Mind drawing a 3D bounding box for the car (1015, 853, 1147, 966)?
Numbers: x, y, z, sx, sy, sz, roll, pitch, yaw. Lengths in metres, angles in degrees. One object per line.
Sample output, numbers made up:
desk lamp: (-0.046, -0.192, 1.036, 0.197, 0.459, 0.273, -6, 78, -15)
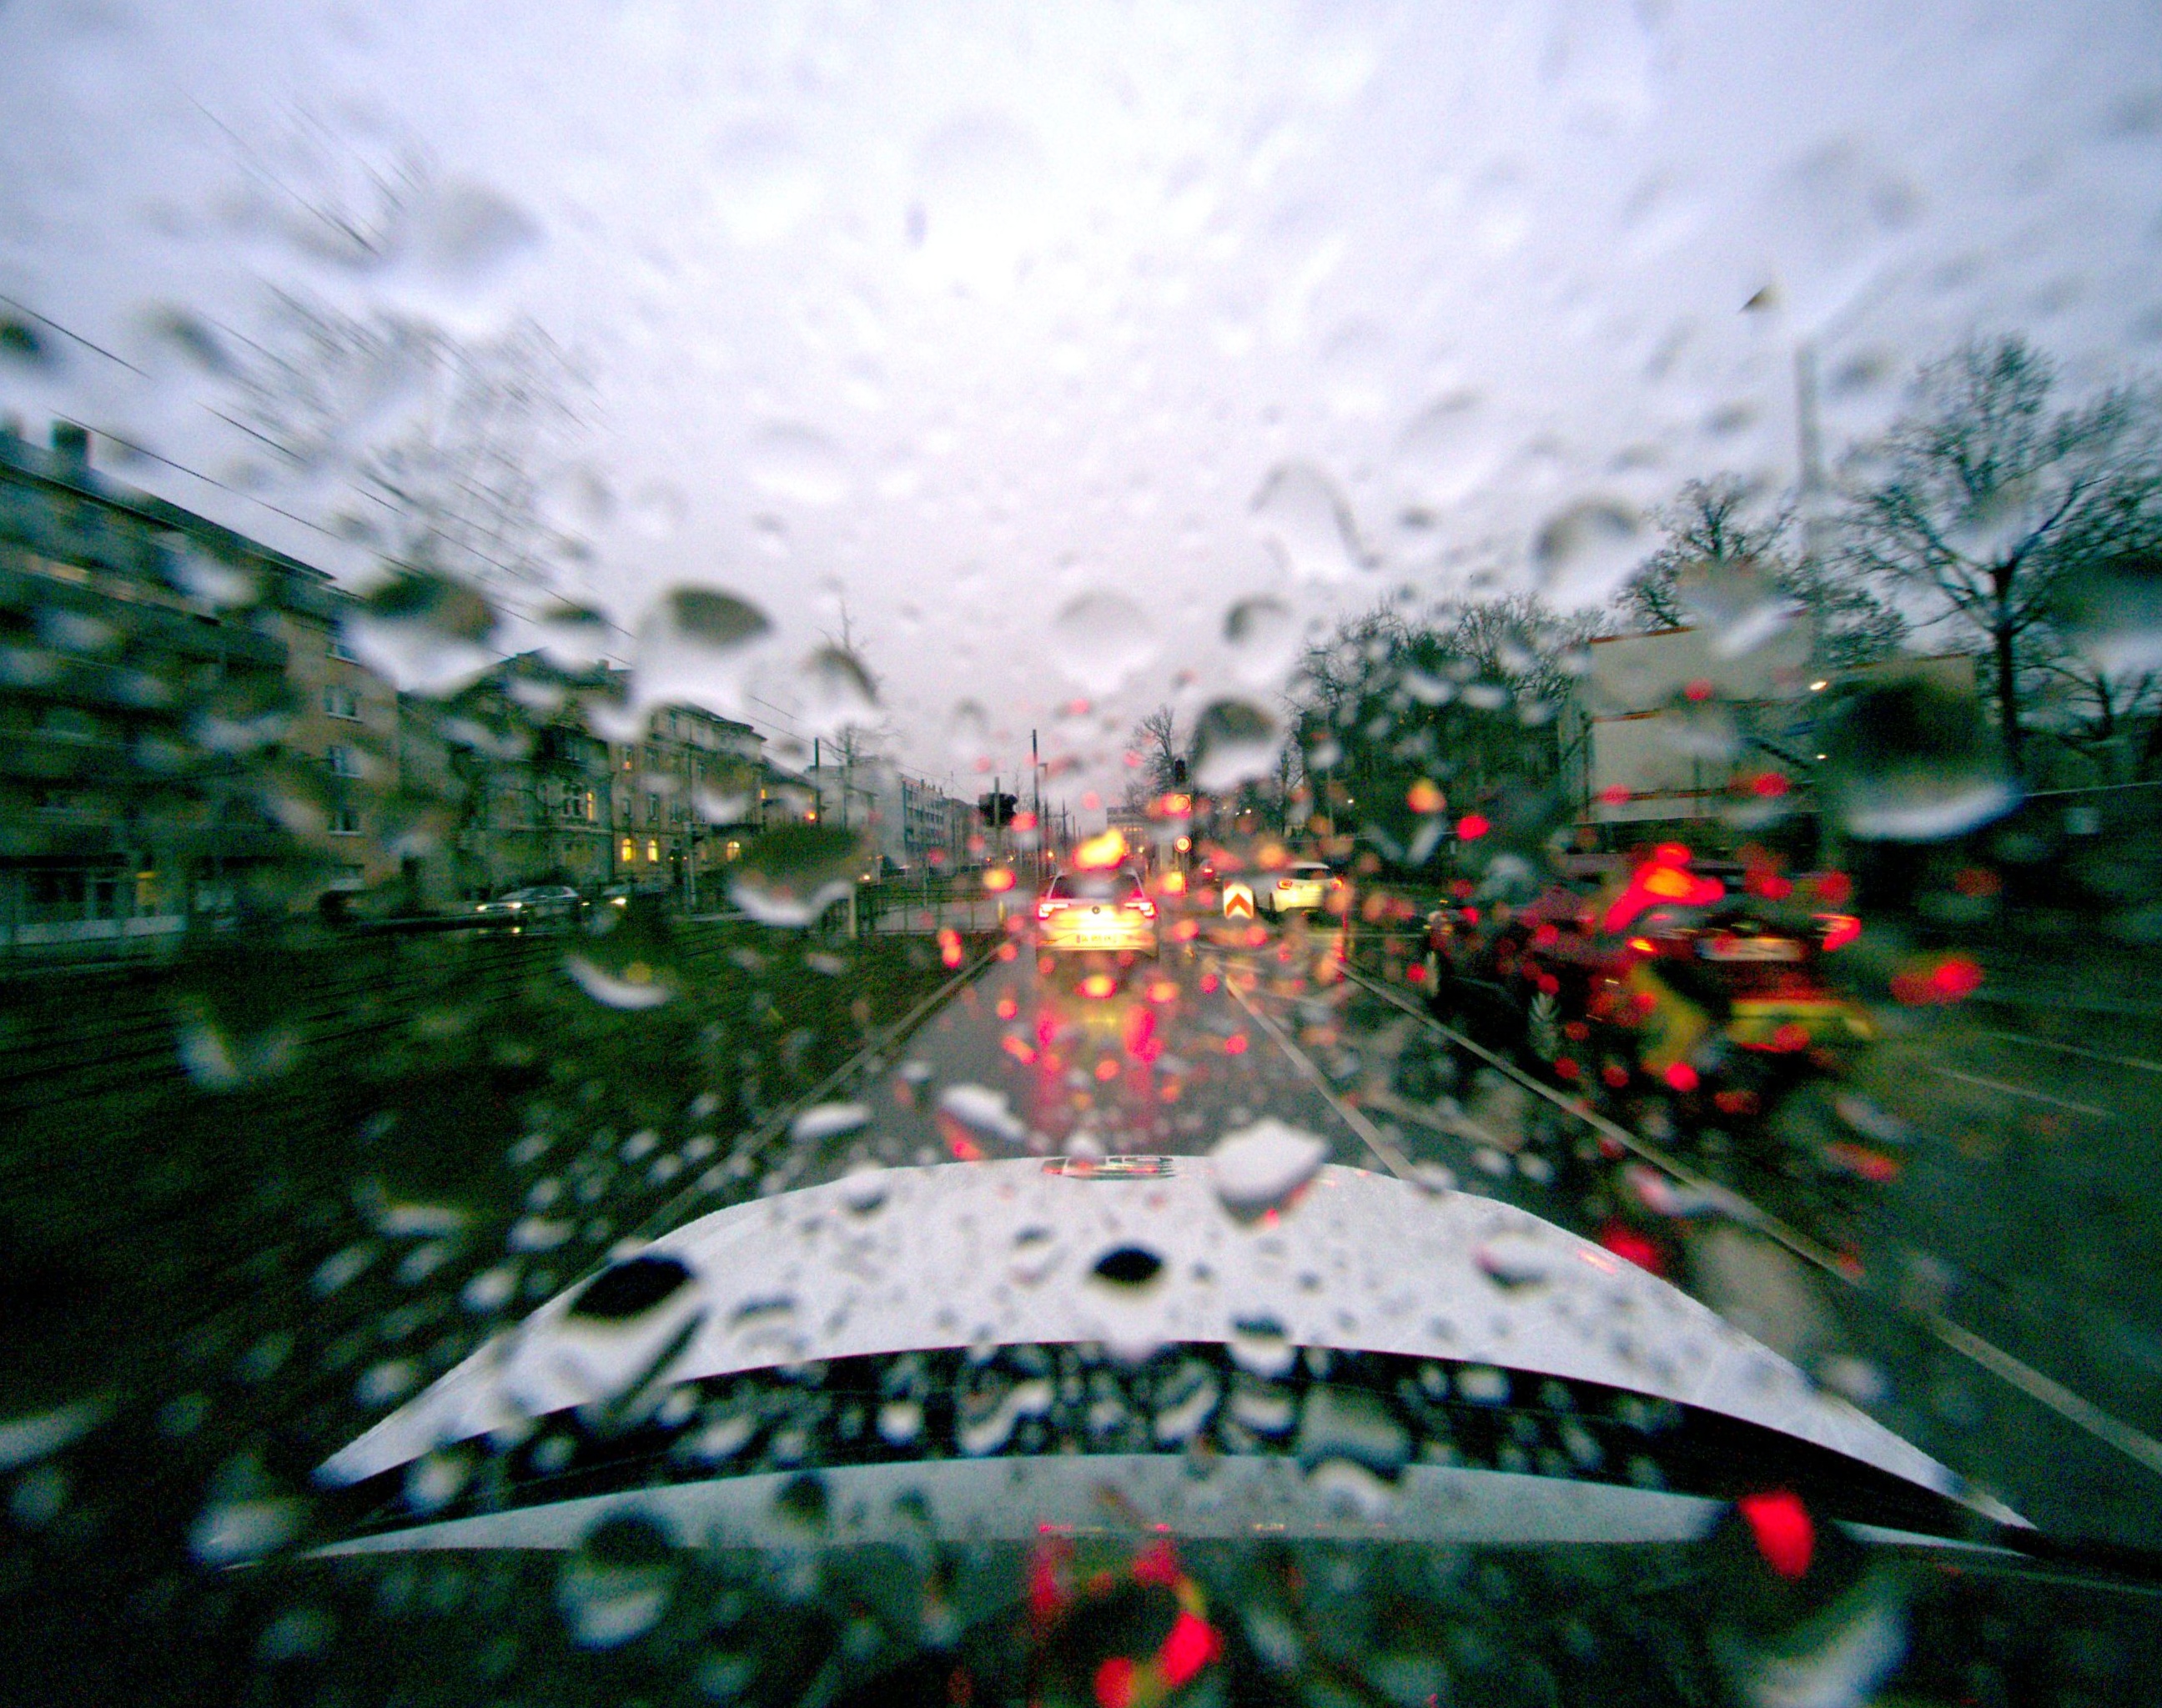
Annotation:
car: (0.092, 0.760, 12.618, 1.715, 1.479, 4.002, 0, -1, 2)

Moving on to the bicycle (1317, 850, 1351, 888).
bicycle: (8.194, 0.478, 26.396, 0.410, 1.185, 2.028, -2, 0, -1)

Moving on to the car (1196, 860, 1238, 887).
car: (6.862, 0.961, 41.473, 1.617, 1.299, 4.002, 0, -1, 2)

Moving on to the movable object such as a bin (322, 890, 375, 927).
movable object such as a bin: (-33.618, 2.483, 37.410, 1.104, 1.561, 1.424, -3, 0, -1)

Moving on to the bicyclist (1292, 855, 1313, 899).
bicyclist: (8.248, 0.837, 30.349, 0.498, 1.591, 0.837, -2, 0, -1)

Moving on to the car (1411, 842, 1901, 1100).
car: (4.138, 0.707, 6.768, 1.712, 1.479, 4.009, 0, -1, 9)

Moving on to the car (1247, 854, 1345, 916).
car: (5.592, 0.786, 21.679, 1.715, 1.479, 4.002, 0, -1, 2)

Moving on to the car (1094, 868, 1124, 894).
car: (1.661, 1.553, 48.186, 1.715, 1.479, 4.002, 0, -1, 2)

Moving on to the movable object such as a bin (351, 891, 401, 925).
movable object such as a bin: (-33.689, 2.559, 38.928, 1.104, 1.480, 1.424, -3, 0, -1)

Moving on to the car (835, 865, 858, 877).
car: (-29.395, 2.099, 102.210, 1.801, 1.436, 3.925, -3, 0, -1)

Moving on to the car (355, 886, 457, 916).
car: (-37.124, 2.551, 44.845, 3.974, 1.406, 1.833, -2, 0, -1)

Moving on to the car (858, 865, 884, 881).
car: (-25.432, 2.284, 98.663, 1.988, 1.692, 4.109, -3, 0, -1)

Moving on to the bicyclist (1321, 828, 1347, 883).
bicyclist: (8.211, 0.048, 26.441, 0.498, 1.767, 0.837, -2, 0, -1)

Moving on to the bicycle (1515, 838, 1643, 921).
bicycle: (10.531, 0.525, 17.287, 2.218, 1.657, 0.694, -1, -2, 41)

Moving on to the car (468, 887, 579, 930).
car: (-23.063, 2.229, 33.894, 1.795, 1.585, 4.000, 0, -1, 1)

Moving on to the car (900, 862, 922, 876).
car: (-24.088, 2.105, 115.495, 1.988, 1.933, 4.909, -3, 0, -1)

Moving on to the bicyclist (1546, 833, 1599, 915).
bicyclist: (10.446, 0.415, 17.316, 0.807, 1.679, 0.702, -2, -1, 40)

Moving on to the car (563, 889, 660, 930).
car: (-20.312, 2.356, 35.433, 1.795, 1.585, 4.000, 0, -1, 1)
